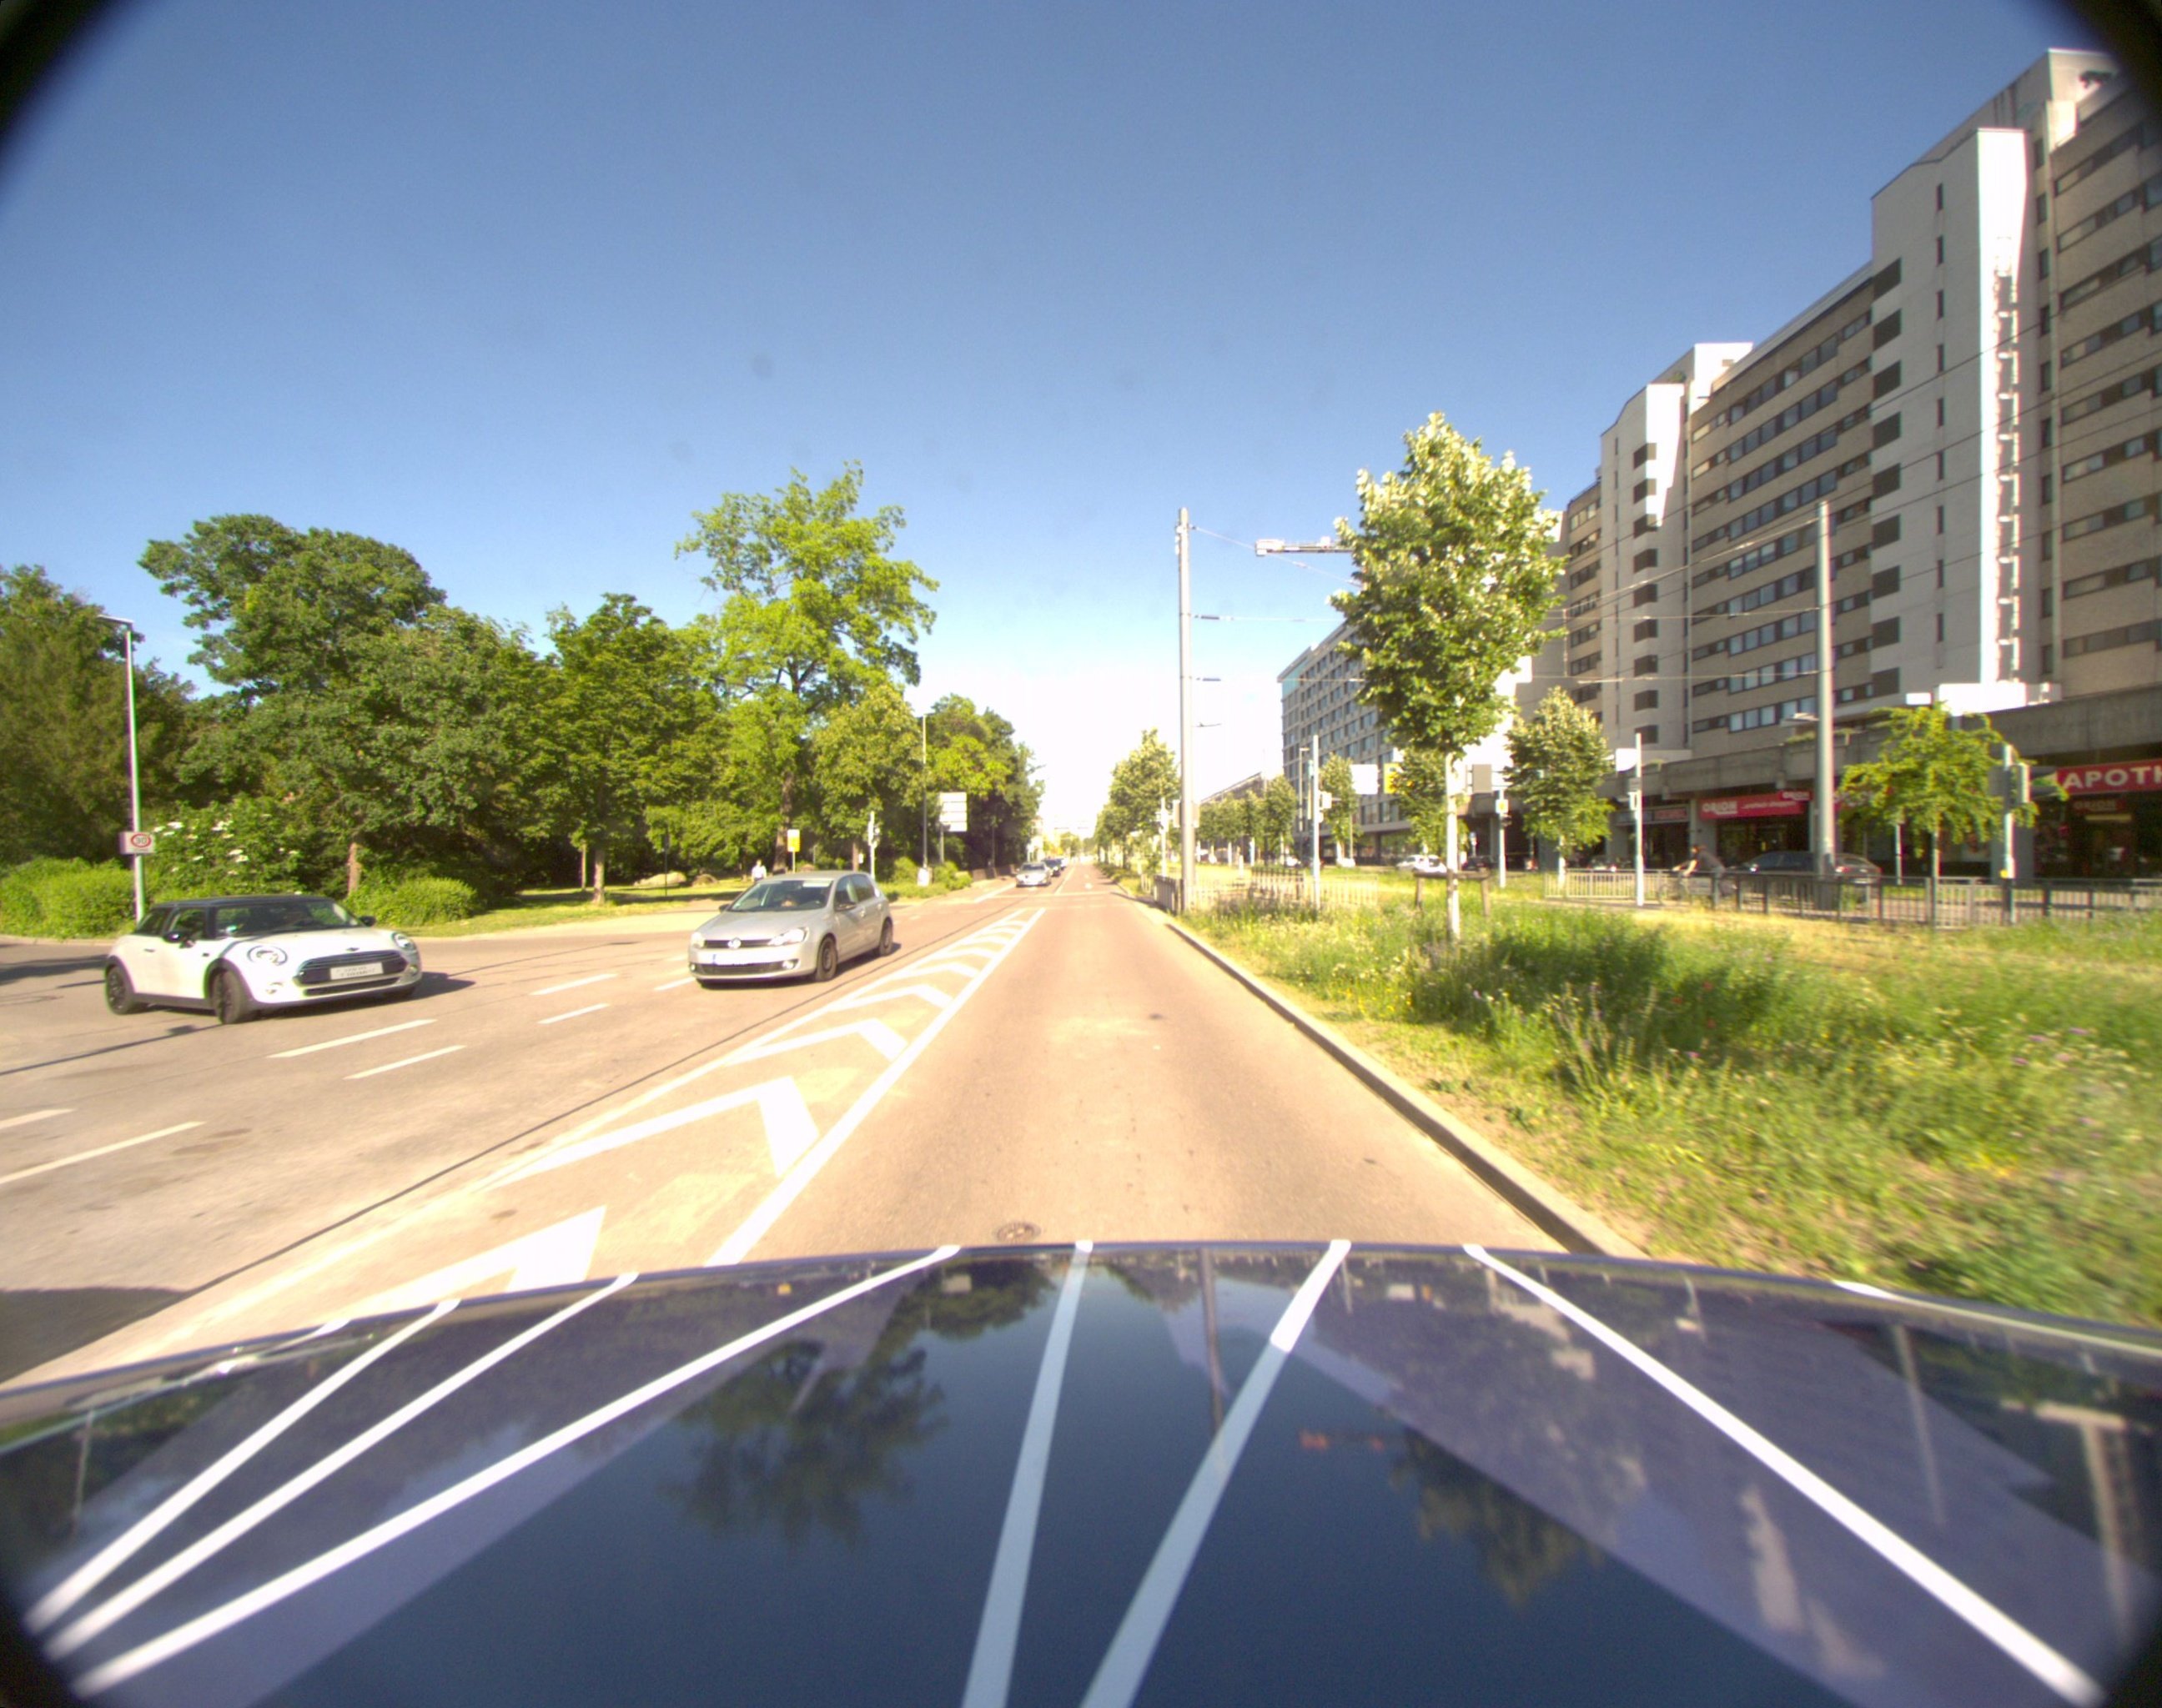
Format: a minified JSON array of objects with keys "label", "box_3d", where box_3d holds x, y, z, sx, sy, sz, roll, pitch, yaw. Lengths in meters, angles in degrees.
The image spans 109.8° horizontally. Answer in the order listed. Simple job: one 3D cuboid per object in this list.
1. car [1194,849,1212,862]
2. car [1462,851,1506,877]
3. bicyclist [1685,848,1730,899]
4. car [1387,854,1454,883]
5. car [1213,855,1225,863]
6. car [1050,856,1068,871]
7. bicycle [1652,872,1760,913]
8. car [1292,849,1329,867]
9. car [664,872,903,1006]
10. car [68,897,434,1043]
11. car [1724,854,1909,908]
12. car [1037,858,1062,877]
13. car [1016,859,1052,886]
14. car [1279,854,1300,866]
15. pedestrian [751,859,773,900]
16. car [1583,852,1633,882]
[{"label":"car","box_3d":[17.890,0.155,111.942,1.998,1.808,4.285,-2,0,1]},{"label":"car","box_3d":[29.569,0.719,55.675,1.791,1.674,4.008,-1,1,44]},{"label":"bicyclist","box_3d":[15.513,0.470,18.816,0.581,1.218,0.766,-3,1,-42]},{"label":"car","box_3d":[20.781,0.850,46.697,1.999,1.569,4.506,-2,0,-1]},{"label":"car","box_3d":[29.227,1.106,160.619,1.827,1.499,3.813,-2,0,0]},{"label":"car","box_3d":[-2.618,1.100,90.063,1.998,1.718,3.999,-2,0,0]},{"label":"bicycle","box_3d":[15.477,0.941,18.862,0.563,0.946,2.011,-3,1,-42]},{"label":"car","box_3d":[21.470,0.361,71.340,1.999,1.569,4.506,-2,0,-1]},{"label":"car","box_3d":[-4.102,1.091,11.263,1.702,1.466,4.001,-2,0,4]},{"label":"car","box_3d":[-10.308,1.324,9.480,3.703,1.428,1.775,-2,1,20]},{"label":"car","box_3d":[23.955,0.811,24.991,1.999,1.569,4.105,2,0,-1]},{"label":"car","box_3d":[-2.614,1.115,63.583,1.999,1.493,3.999,-1,0,-3]},{"label":"car","box_3d":[-2.687,1.032,44.319,1.839,1.415,3.999,-2,0,0]},{"label":"car","box_3d":[28.914,0.853,105.273,1.865,1.541,3.772,-2,0,0]},{"label":"pedestrian","box_3d":[-13.778,1.078,32.780,0.739,1.692,0.873,-2,1,-29]},{"label":"car","box_3d":[30.227,0.735,43.555,1.712,1.511,4.008,-1,1,44]}]
